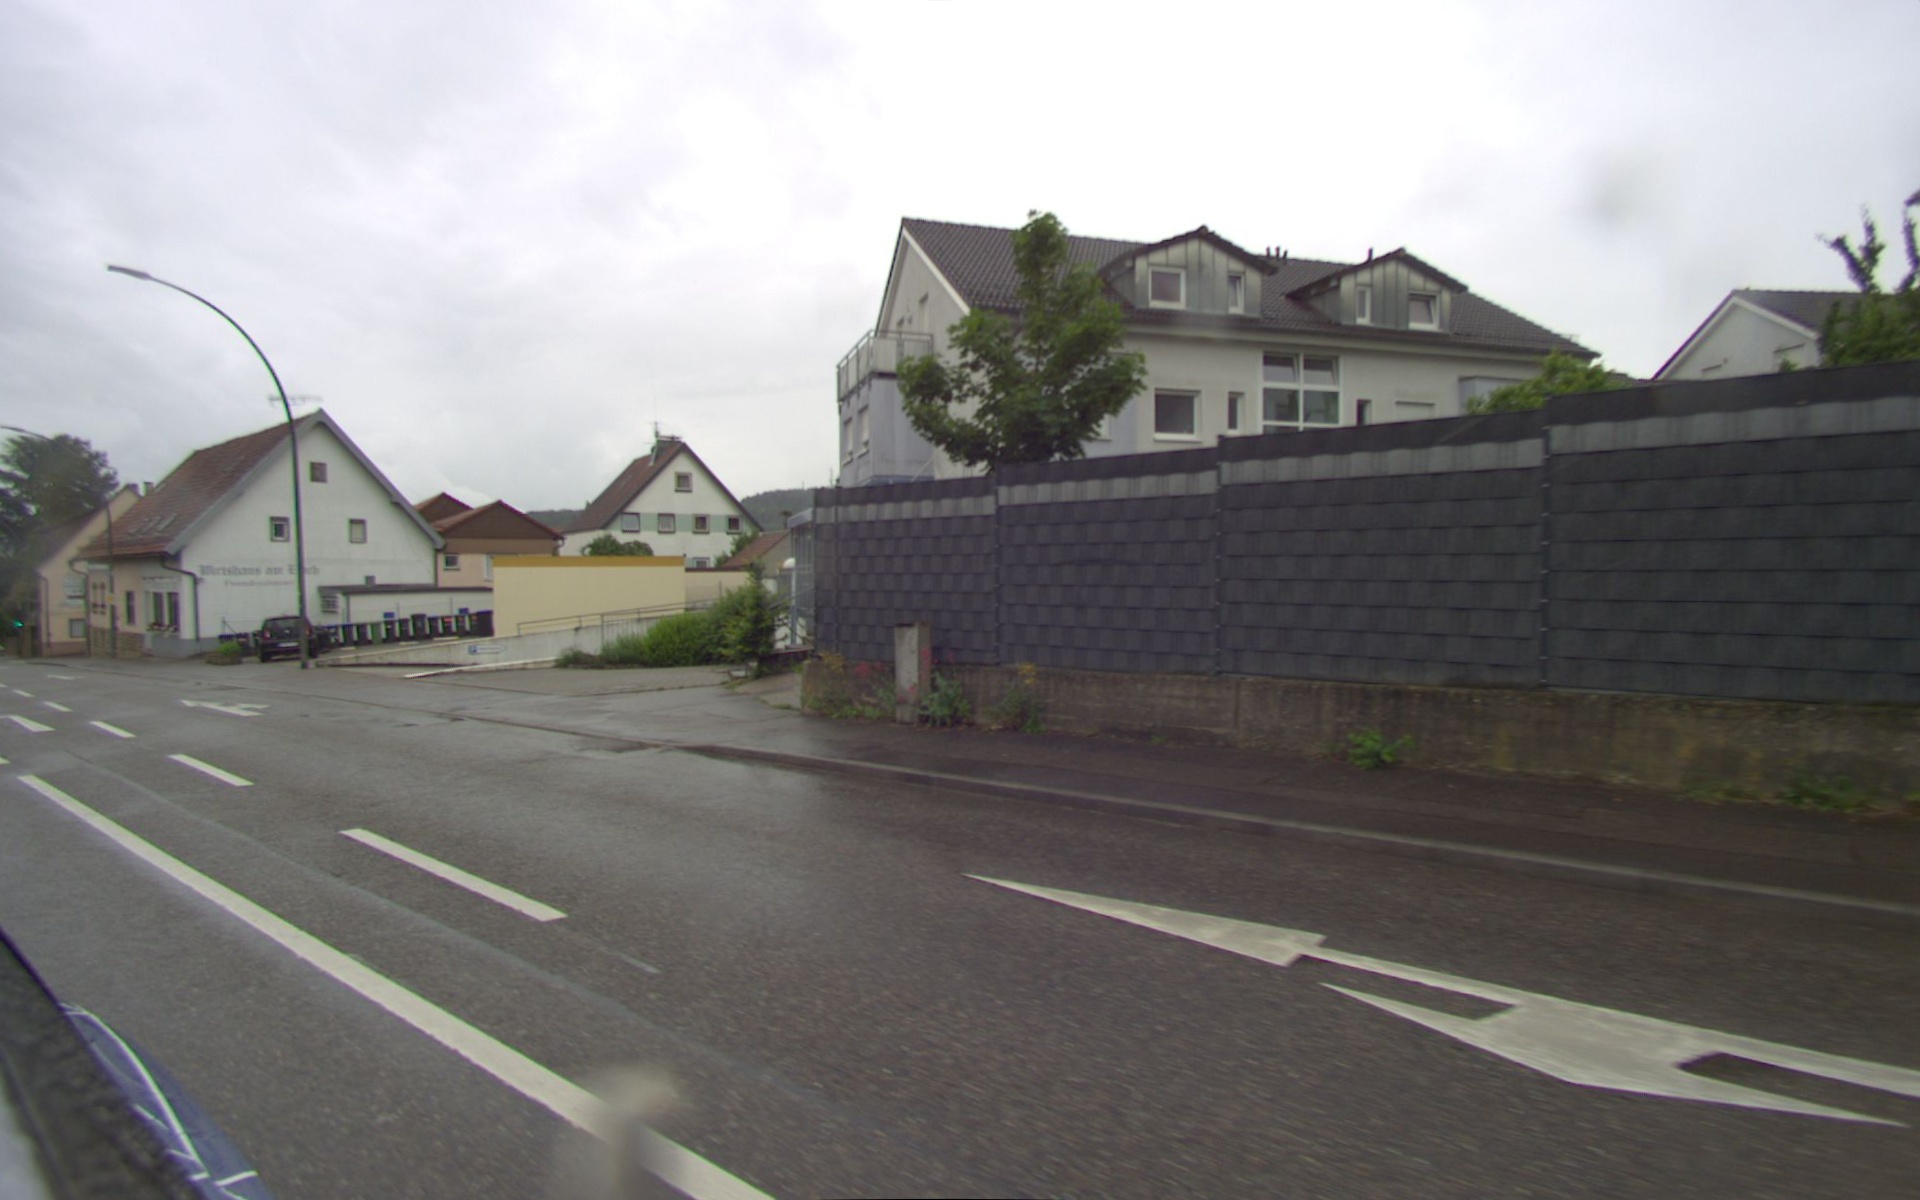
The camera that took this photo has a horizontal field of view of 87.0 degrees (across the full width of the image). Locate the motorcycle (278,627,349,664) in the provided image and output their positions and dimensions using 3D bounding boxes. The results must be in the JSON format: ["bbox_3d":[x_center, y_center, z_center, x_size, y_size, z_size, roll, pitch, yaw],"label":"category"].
[{"bbox_3d":[-23.446,1.640,36.750,2.082,1.122,0.782,-5,3,-33],"label":"motorcycle"}]

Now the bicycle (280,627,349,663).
[{"bbox_3d":[-23.844,1.644,37.390,2.069,1.122,0.739,-5,3,-33],"label":"bicycle"}]

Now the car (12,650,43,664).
[{"bbox_3d":[-113.150,6.881,122.845,1.803,1.642,4.166,1,-3,-30],"label":"car"}]

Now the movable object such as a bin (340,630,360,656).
[{"bbox_3d":[-23.927,1.683,39.673,0.629,1.040,0.606,1,-2,-36],"label":"movable object such as a bin"}]

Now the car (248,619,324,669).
[{"bbox_3d":[-22.684,1.473,34.183,1.875,1.453,3.839,-3,0,-31],"label":"car"}]

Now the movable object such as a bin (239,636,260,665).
[{"bbox_3d":[-26.574,1.880,37.838,0.629,1.040,0.606,1,-2,-36],"label":"movable object such as a bin"}]

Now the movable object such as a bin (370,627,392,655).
[{"bbox_3d":[-22.950,1.634,40.123,0.630,1.040,0.606,-5,1,-36],"label":"movable object such as a bin"}]

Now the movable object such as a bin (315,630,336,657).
[{"bbox_3d":[-24.585,1.693,39.197,0.629,1.040,0.606,1,-2,-36],"label":"movable object such as a bin"}]

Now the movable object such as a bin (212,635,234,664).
[{"bbox_3d":[-27.243,1.814,37.399,0.629,1.040,0.675,1,-2,-36],"label":"movable object such as a bin"}]

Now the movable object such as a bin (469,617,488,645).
[{"bbox_3d":[-19.368,1.252,40.700,0.660,1.087,0.626,0,-2,-27],"label":"movable object such as a bin"}]

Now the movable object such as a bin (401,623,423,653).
[{"bbox_3d":[-22.077,1.516,40.752,0.629,1.139,0.606,-4,0,-36],"label":"movable object such as a bin"}]
